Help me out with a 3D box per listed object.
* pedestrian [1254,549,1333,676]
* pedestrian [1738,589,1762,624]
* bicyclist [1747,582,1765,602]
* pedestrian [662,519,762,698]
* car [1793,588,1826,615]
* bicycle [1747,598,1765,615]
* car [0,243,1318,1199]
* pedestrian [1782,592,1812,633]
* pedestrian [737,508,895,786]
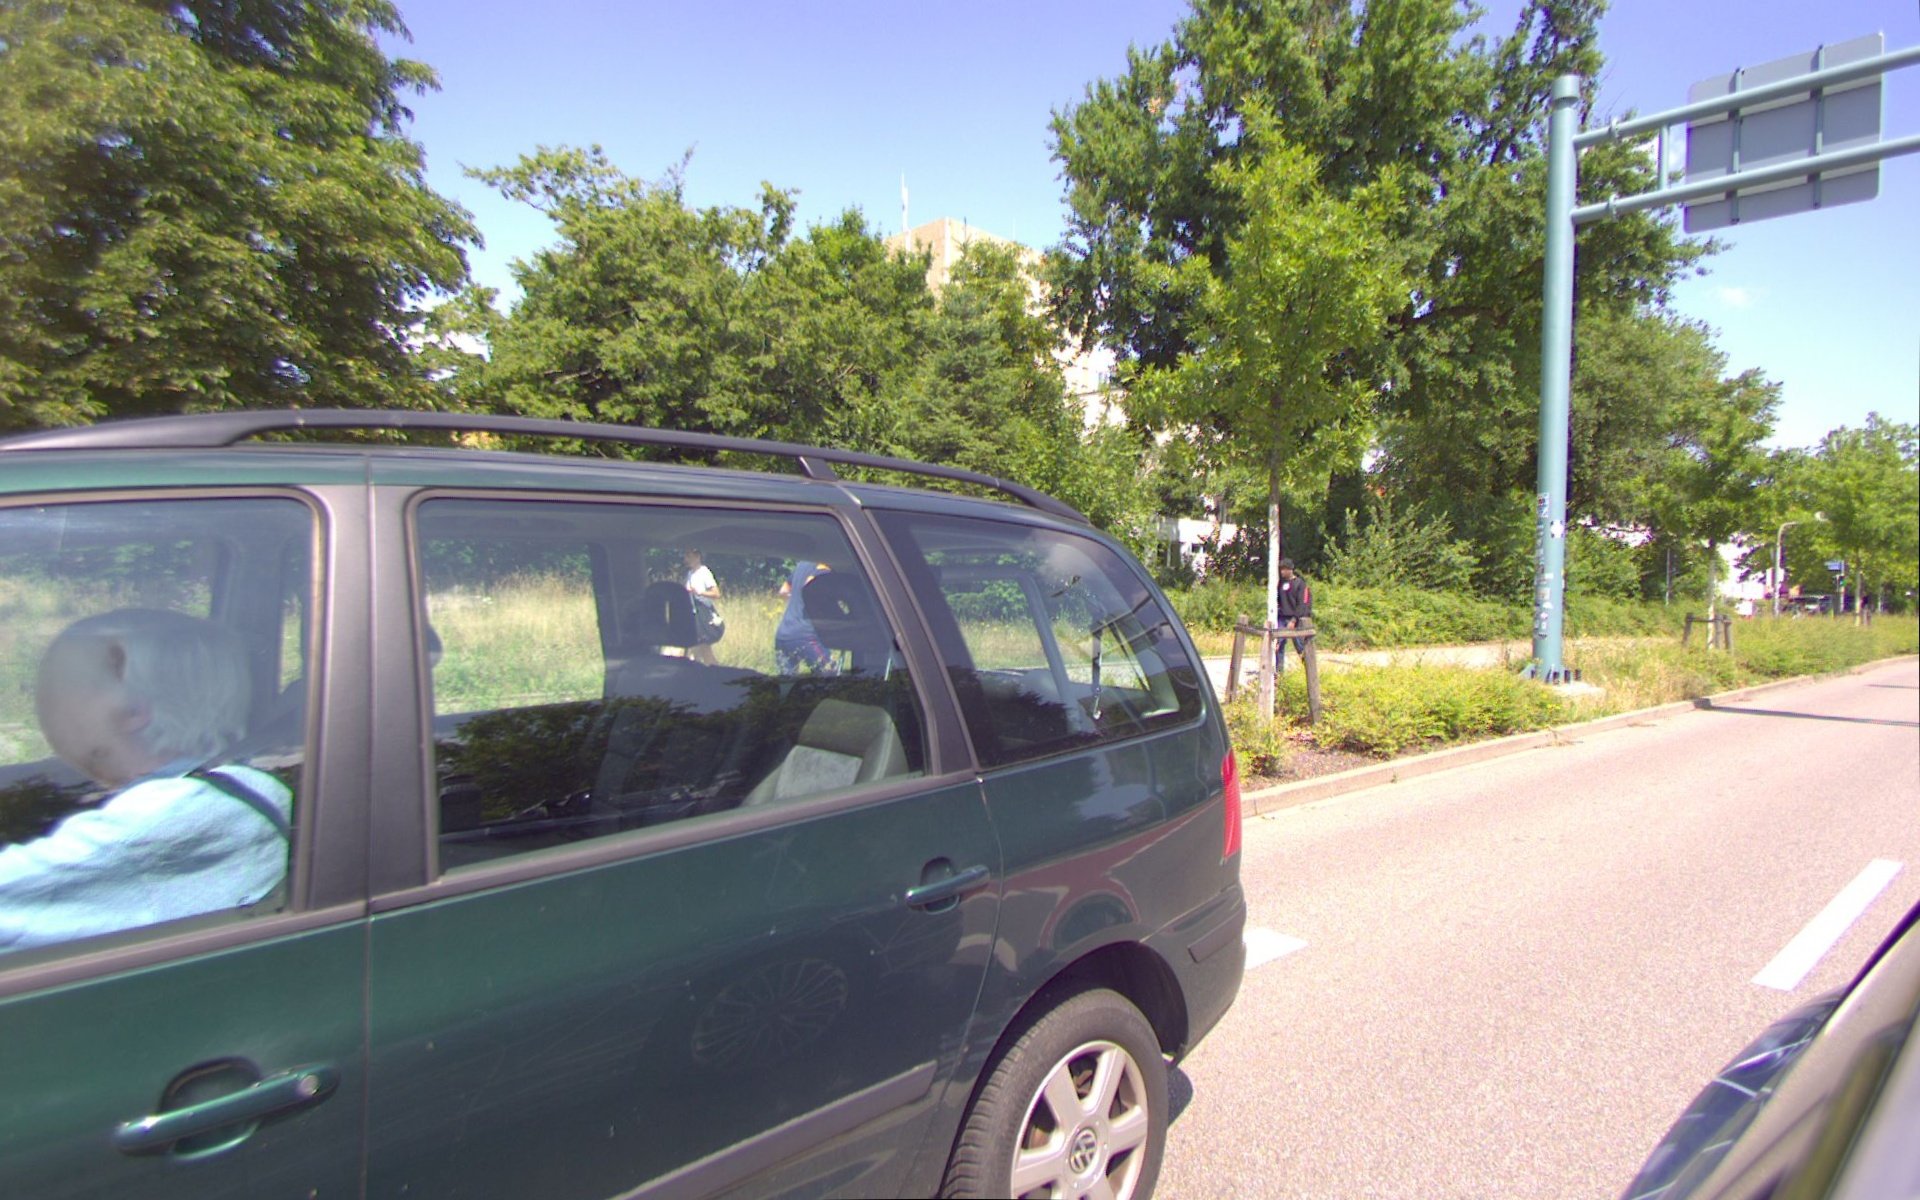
[{"bbox_3d":[4.731,0.160,14.367,0.822,1.743,0.718,0,1,-39],"label":"pedestrian"},{"bbox_3d":[43.505,0.354,55.712,0.968,1.896,0.866,1,1,42],"label":"pedestrian"},{"bbox_3d":[58.452,-0.591,74.289,0.968,1.462,1.060,1,1,43],"label":"bicyclist"},{"bbox_3d":[-2.536,0.075,10.332,0.733,1.743,0.724,0,1,-39],"label":"pedestrian"},{"bbox_3d":[69.345,0.090,82.584,1.992,2.080,4.166,2,1,41],"label":"car"},{"bbox_3d":[58.540,0.474,74.425,0.882,1.267,2.132,1,1,42],"label":"bicycle"},{"bbox_3d":[-1.305,0.526,1.853,4.311,1.756,1.815,1,0,-41],"label":"car"},{"bbox_3d":[36.483,0.517,44.109,0.913,1.743,0.815,0,1,-39],"label":"pedestrian"},{"bbox_3d":[-1.091,0.315,7.605,0.760,1.916,0.952,1,0,-40],"label":"pedestrian"}]
